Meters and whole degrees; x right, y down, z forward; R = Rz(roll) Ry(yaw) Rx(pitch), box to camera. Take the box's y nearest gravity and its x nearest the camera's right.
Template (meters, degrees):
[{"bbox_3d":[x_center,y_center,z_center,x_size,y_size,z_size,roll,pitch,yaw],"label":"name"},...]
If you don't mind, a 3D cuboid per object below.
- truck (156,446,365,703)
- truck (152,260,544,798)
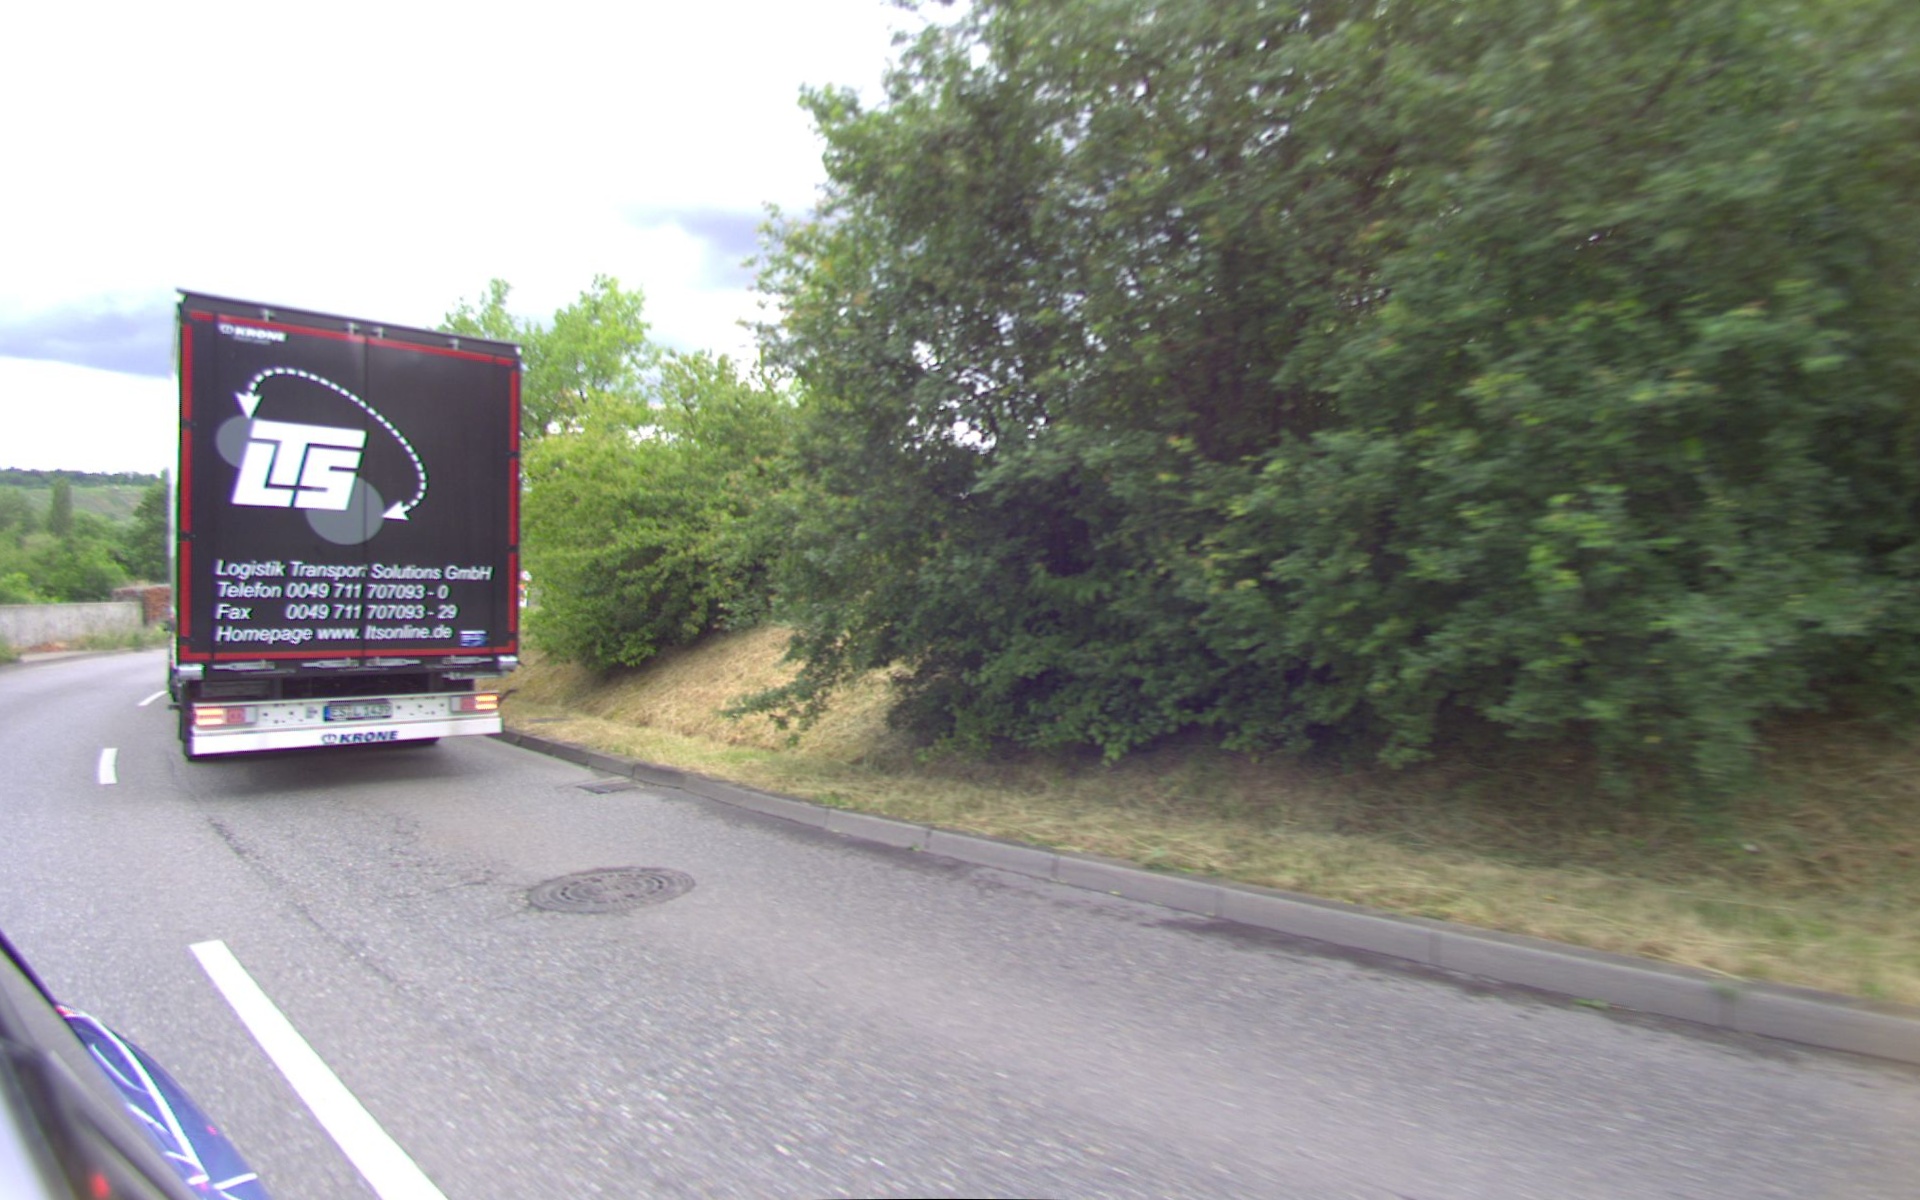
[{"bbox_3d":[-13.297,-0.346,19.002,2.670,3.980,6.341,2,-2,-39],"label":"truck"},{"bbox_3d":[-9.167,-0.423,13.719,2.670,3.980,13.860,2,-2,-39],"label":"truck"}]
